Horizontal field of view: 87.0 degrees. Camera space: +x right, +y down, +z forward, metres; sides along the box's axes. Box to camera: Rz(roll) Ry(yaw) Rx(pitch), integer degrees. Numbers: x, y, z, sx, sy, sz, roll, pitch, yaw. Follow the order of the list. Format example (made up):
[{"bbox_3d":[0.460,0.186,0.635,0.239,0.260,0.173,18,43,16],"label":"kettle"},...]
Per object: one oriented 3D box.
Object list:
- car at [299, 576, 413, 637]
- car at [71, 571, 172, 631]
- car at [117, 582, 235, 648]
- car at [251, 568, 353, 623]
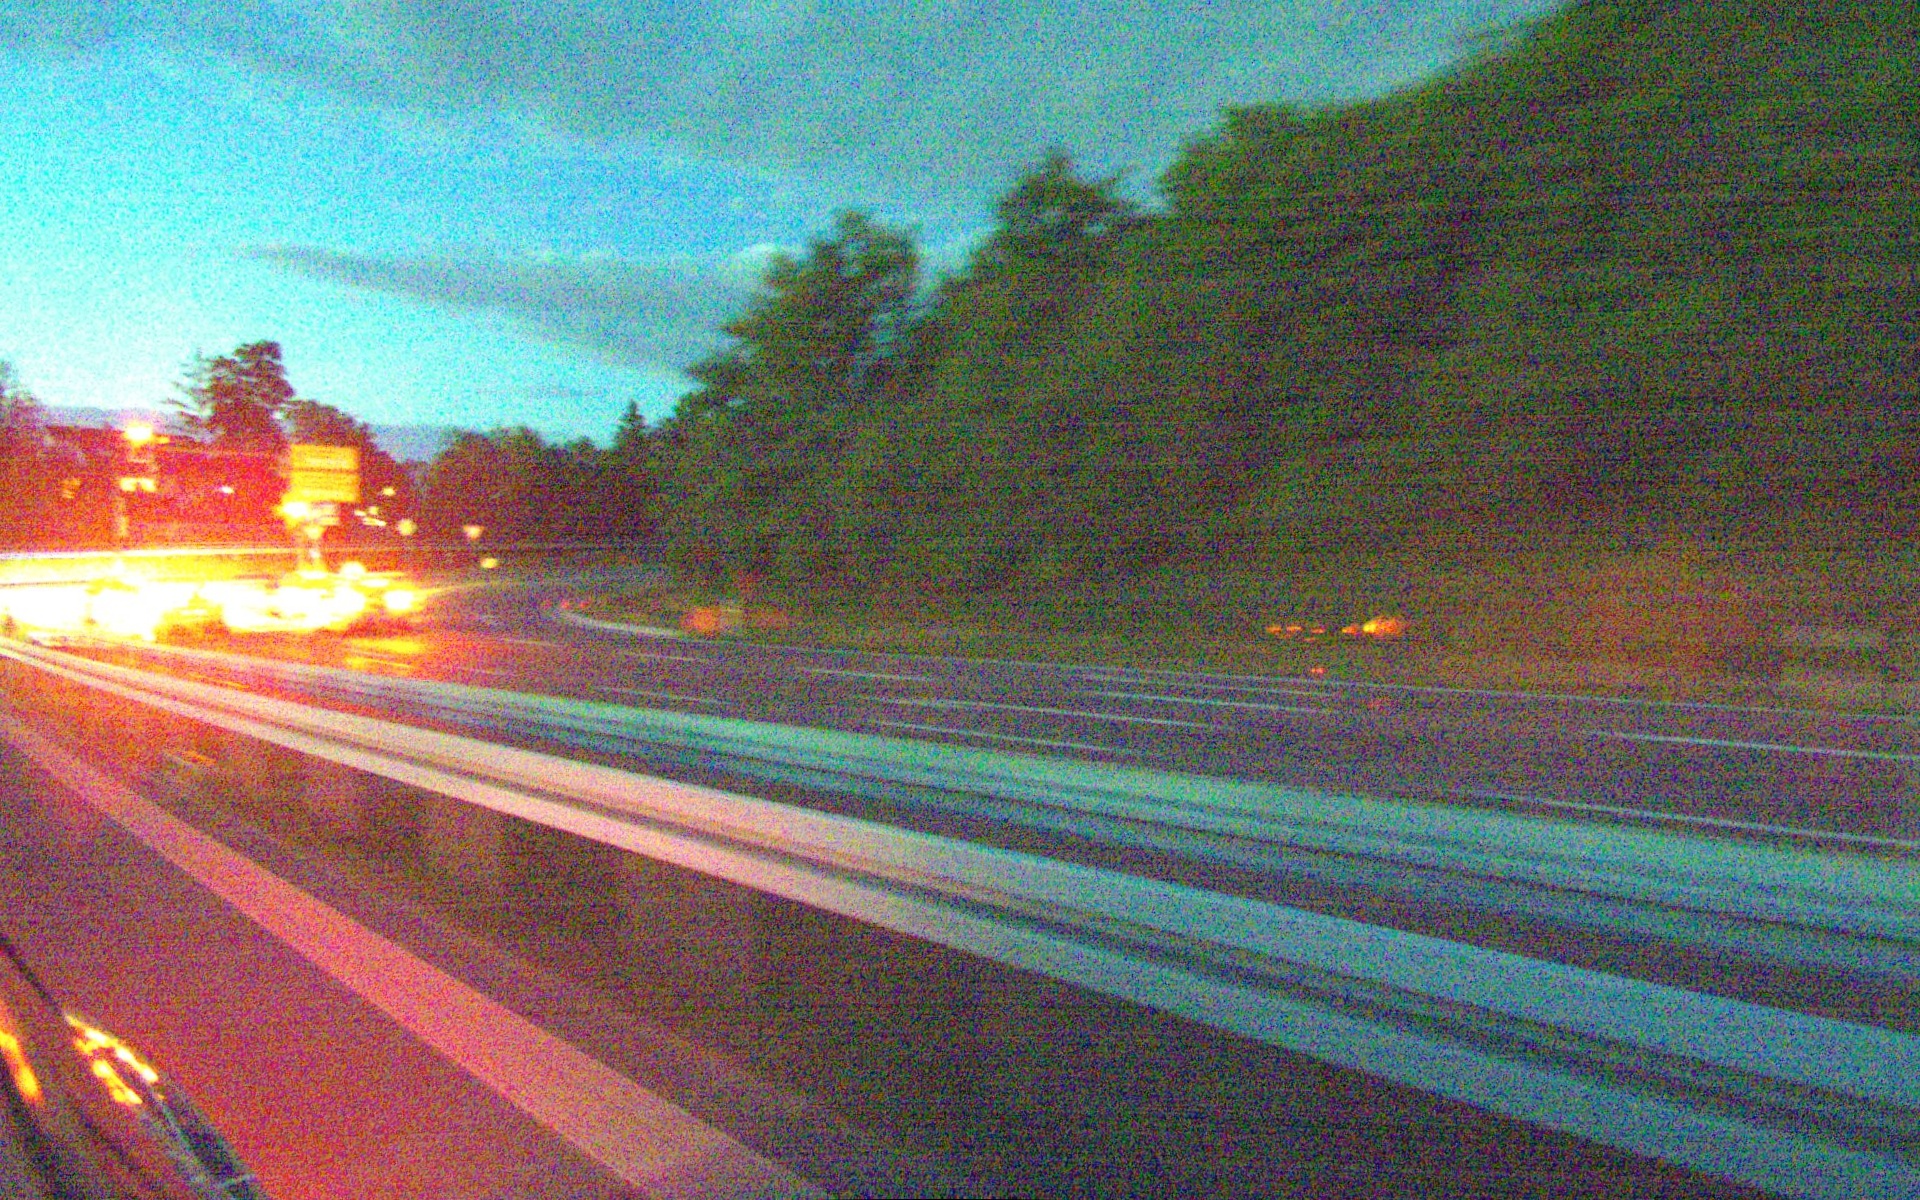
[{"bbox_3d":[-16.546,0.116,27.651,3.813,1.470,1.665,3,3,43],"label":"car"},{"bbox_3d":[-25.501,-0.030,30.743,3.869,1.485,1.682,4,7,41],"label":"car"},{"bbox_3d":[-19.909,0.321,25.656,3.985,1.455,1.692,2,4,43],"label":"car"},{"bbox_3d":[-21.096,-0.183,32.400,4.000,1.471,1.736,3,6,42],"label":"car"}]
